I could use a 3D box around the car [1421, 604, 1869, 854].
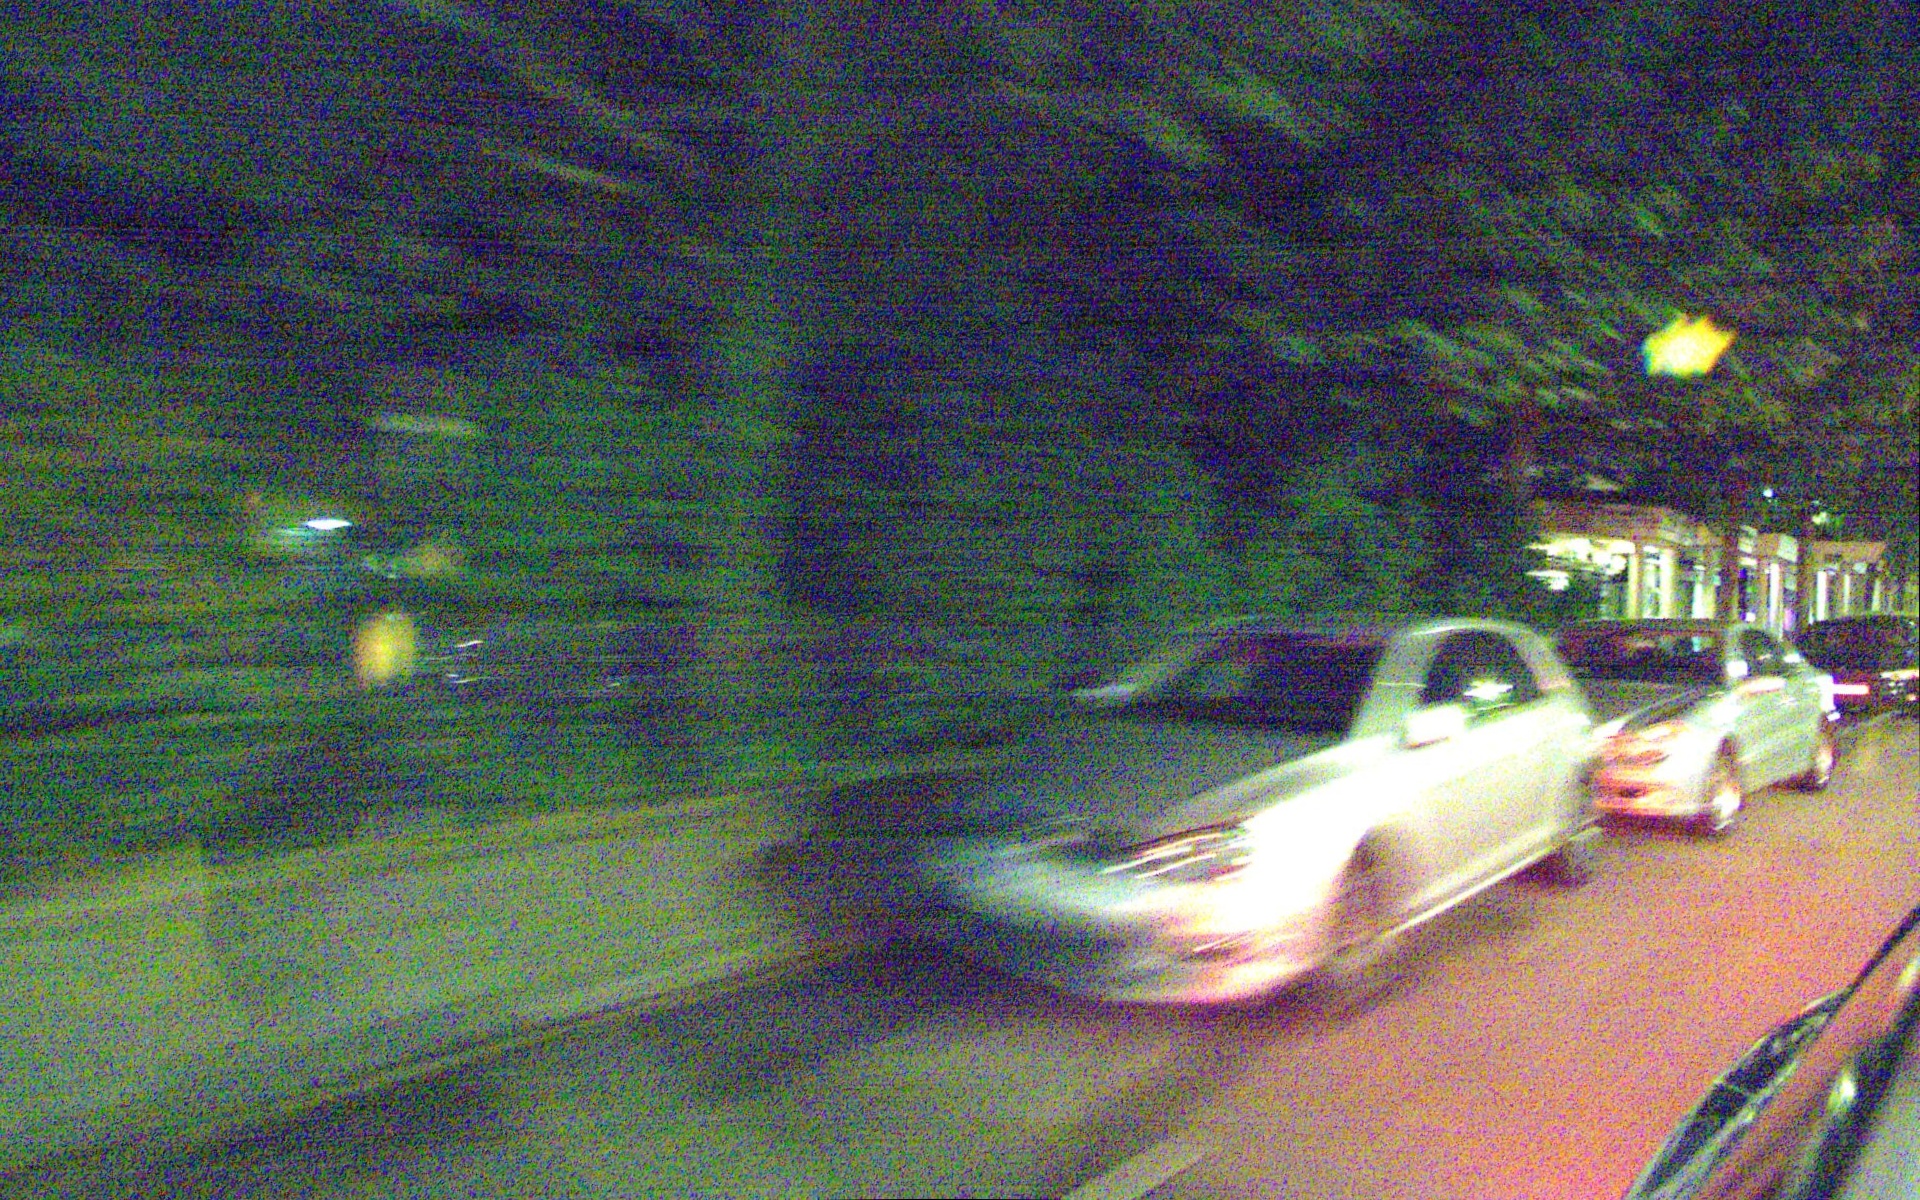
[{"bbox_3d":[5.642,0.782,8.097,4.527,1.466,1.680,0,-1,-39],"label":"car"}]

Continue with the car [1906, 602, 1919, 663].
[{"bbox_3d":[25.398,0.807,25.779,3.933,1.465,1.678,0,0,-43],"label":"car"}]

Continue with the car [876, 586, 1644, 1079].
[{"bbox_3d":[1.791,0.698,5.093,4.216,1.456,1.782,0,-1,-42],"label":"car"}]

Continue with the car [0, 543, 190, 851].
[{"bbox_3d":[-6.865,0.476,6.059,4.017,1.605,1.697,1,1,20],"label":"car"}]

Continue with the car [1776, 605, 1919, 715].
[{"bbox_3d":[13.974,0.810,15.440,4.365,1.434,1.764,0,0,-43],"label":"car"}]

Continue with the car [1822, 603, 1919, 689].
[{"bbox_3d":[17.725,0.811,19.144,3.710,1.485,1.641,0,-1,-41],"label":"car"}]

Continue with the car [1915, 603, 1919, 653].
[{"bbox_3d":[29.029,0.800,29.372,3.456,1.416,1.602,0,-1,-41],"label":"car"}]
